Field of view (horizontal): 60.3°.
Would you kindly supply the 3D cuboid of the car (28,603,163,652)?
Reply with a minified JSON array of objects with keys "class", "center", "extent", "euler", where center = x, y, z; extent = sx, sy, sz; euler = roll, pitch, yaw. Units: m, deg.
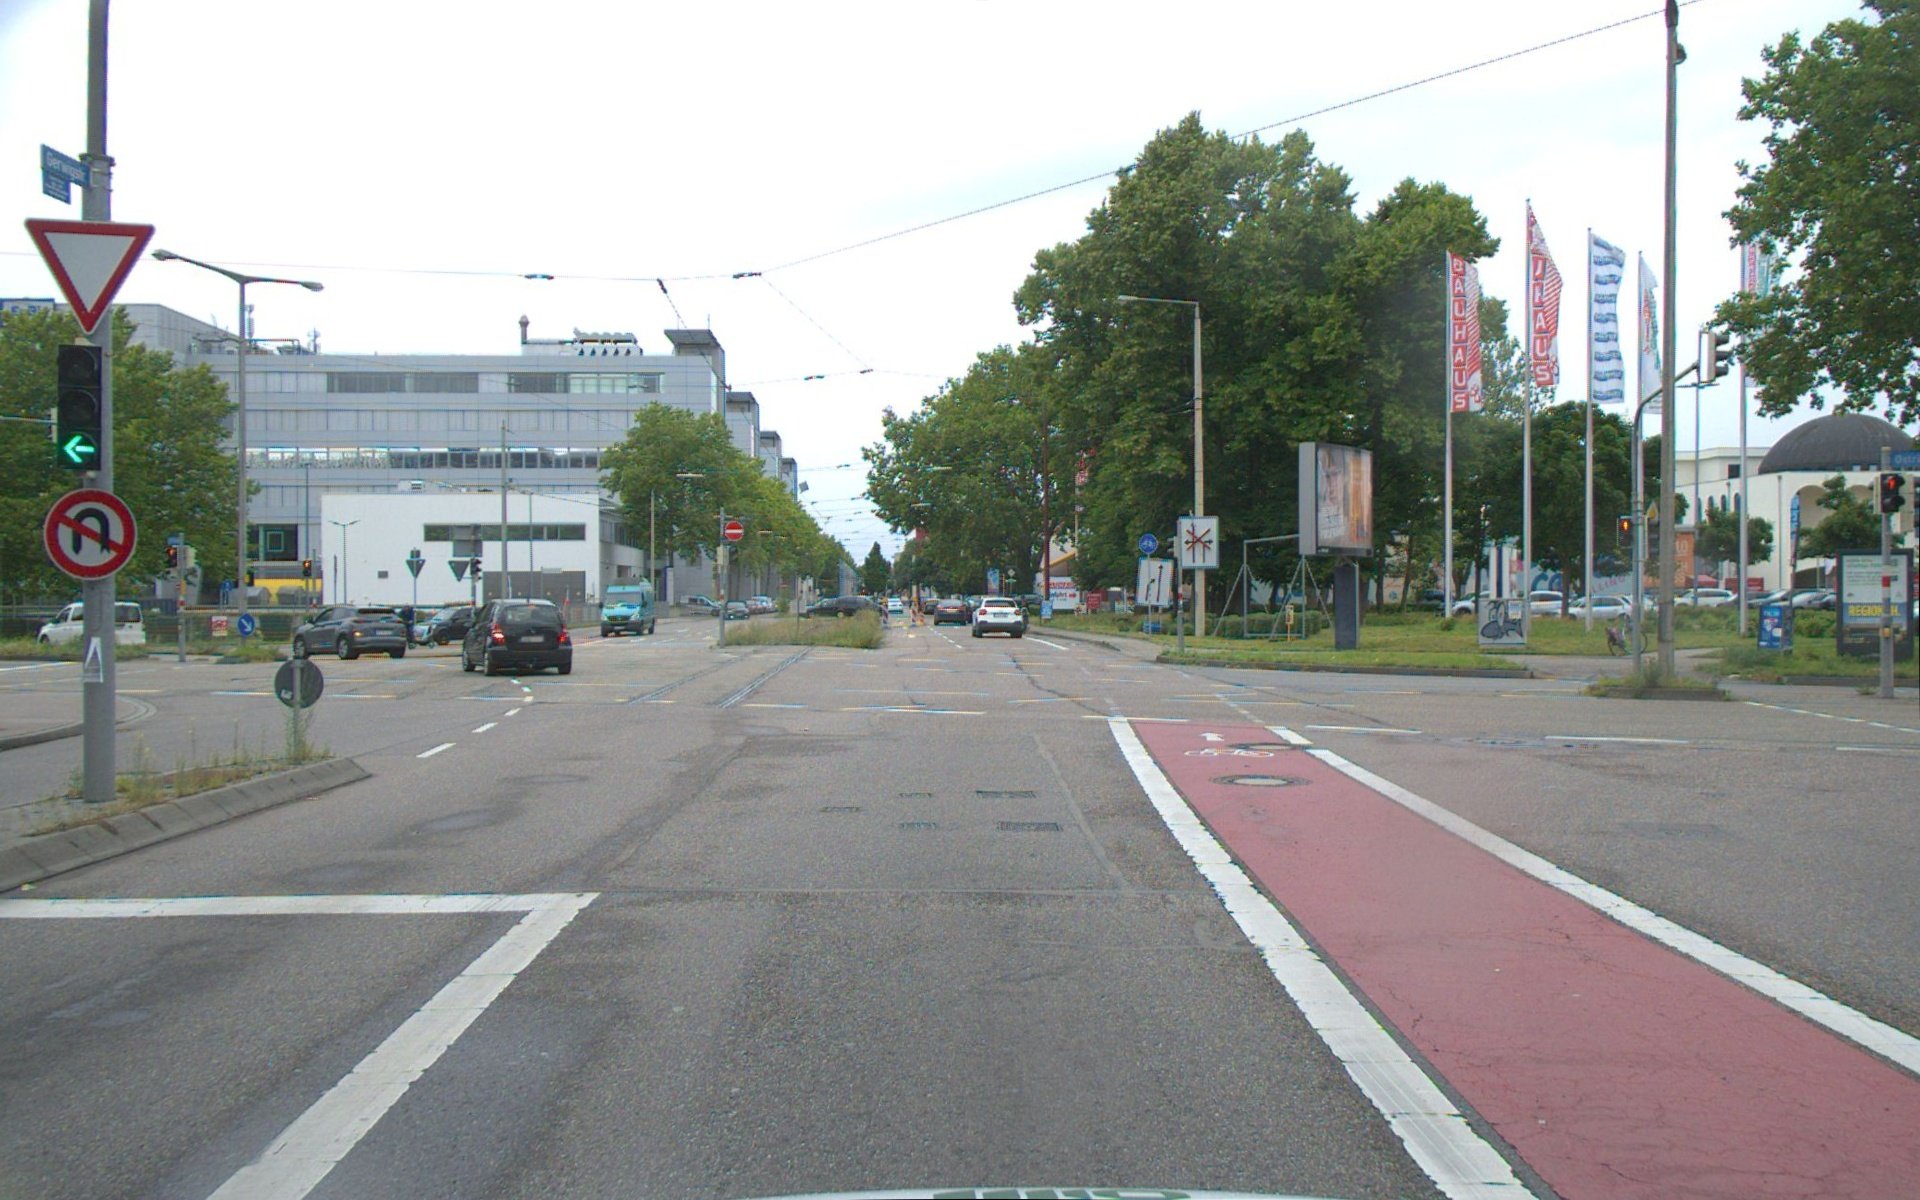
[{"class":"car","center":[-30.023,0.933,57.384],"extent":[4.904,1.554,1.963],"euler":[1,0,32]}]

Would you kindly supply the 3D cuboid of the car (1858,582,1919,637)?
[{"class":"car","center":[28.622,0.318,48.021],"extent":[4.140,1.523,1.928],"euler":[1,-1,-7]}]

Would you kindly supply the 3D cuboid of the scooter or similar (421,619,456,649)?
[{"class":"scooter or similar","center":[-19.660,1.263,62.403],"extent":[0.631,1.081,1.451],"euler":[1,0,10]}]

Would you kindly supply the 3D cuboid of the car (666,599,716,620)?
[{"class":"car","center":[-24.484,0.822,150.517],"extent":[4.325,1.814,1.824],"euler":[-1,0,-5]}]

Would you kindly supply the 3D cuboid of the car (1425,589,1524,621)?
[{"class":"car","center":[26.499,0.247,85.272],"extent":[4.445,1.523,1.957],"euler":[1,-1,-7]}]

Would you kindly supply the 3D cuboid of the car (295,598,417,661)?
[{"class":"car","center":[-17.440,0.817,47.729],"extent":[3.602,1.681,1.769],"euler":[1,0,41]}]

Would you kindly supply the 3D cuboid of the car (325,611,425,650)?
[{"class":"car","center":[-24.650,1.283,69.695],"extent":[3.580,1.554,1.775],"euler":[-1,0,16]}]

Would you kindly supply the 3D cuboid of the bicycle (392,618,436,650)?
[{"class":"bicycle","center":[-19.986,1.237,60.548],"extent":[0.631,1.081,2.002],"euler":[1,0,10]}]

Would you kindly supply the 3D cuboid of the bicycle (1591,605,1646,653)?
[{"class":"bicycle","center":[16.116,0.699,40.480],"extent":[1.791,1.137,0.481],"euler":[-1,0,-41]}]

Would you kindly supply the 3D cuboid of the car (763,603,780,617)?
[{"class":"car","center":[-22.563,1.199,198.369],"extent":[1.840,1.661,4.202],"euler":[-1,0,-4]}]

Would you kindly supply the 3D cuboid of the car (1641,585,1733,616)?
[{"class":"car","center":[42.358,0.011,96.379],"extent":[4.467,1.706,2.151],"euler":[-1,0,-8]}]

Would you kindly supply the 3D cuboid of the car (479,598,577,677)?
[{"class":"car","center":[-9.242,0.765,35.225],"extent":[1.742,1.554,3.649],"euler":[1,0,-19]}]

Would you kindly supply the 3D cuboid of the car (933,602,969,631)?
[{"class":"car","center":[-0.505,0.910,92.096],"extent":[1.651,1.540,3.701],"euler":[1,0,-6]}]

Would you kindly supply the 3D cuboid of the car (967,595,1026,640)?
[{"class":"car","center":[1.368,0.656,63.607],"extent":[1.788,1.628,3.771],"euler":[1,0,-6]}]

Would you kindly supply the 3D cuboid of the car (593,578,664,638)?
[{"class":"car","center":[-16.327,0.390,81.796],"extent":[2.280,2.875,5.949],"euler":[-1,0,0]}]

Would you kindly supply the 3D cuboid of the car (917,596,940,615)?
[{"class":"car","center":[-2.899,0.512,150.118],"extent":[1.840,1.661,3.997],"euler":[-1,0,-4]}]

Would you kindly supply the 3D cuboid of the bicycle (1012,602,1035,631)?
[{"class":"bicycle","center":[2.840,0.729,73.922],"extent":[0.800,1.234,2.681],"euler":[-1,0,-3]}]

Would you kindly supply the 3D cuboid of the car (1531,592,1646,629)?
[{"class":"car","center":[27.697,0.484,72.913],"extent":[4.359,1.523,1.928],"euler":[1,-1,-8]}]

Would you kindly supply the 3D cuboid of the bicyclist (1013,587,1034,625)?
[{"class":"bicyclist","center":[2.831,0.259,73.922],"extent":[0.800,1.659,1.234],"euler":[-1,0,-3]}]

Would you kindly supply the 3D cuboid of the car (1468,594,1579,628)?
[{"class":"car","center":[27.069,0.530,79.491],"extent":[4.583,1.523,2.168],"euler":[1,-1,-5]}]

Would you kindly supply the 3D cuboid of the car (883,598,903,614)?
[{"class":"car","center":[-6.562,0.609,162.667],"extent":[1.760,1.540,3.701],"euler":[1,0,-6]}]

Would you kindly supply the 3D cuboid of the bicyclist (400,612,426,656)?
[{"class":"bicyclist","center":[-19.996,1.237,60.475],"extent":[0.631,1.545,0.627],"euler":[1,0,10]}]

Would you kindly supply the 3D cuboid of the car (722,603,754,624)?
[{"class":"car","center":[-16.642,1.021,124.101],"extent":[1.782,1.501,4.129],"euler":[-2,-2,-1]}]

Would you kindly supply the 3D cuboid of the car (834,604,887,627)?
[{"class":"car","center":[-7.221,1.120,120.508],"extent":[3.806,1.583,1.824],"euler":[1,-1,-3]}]
